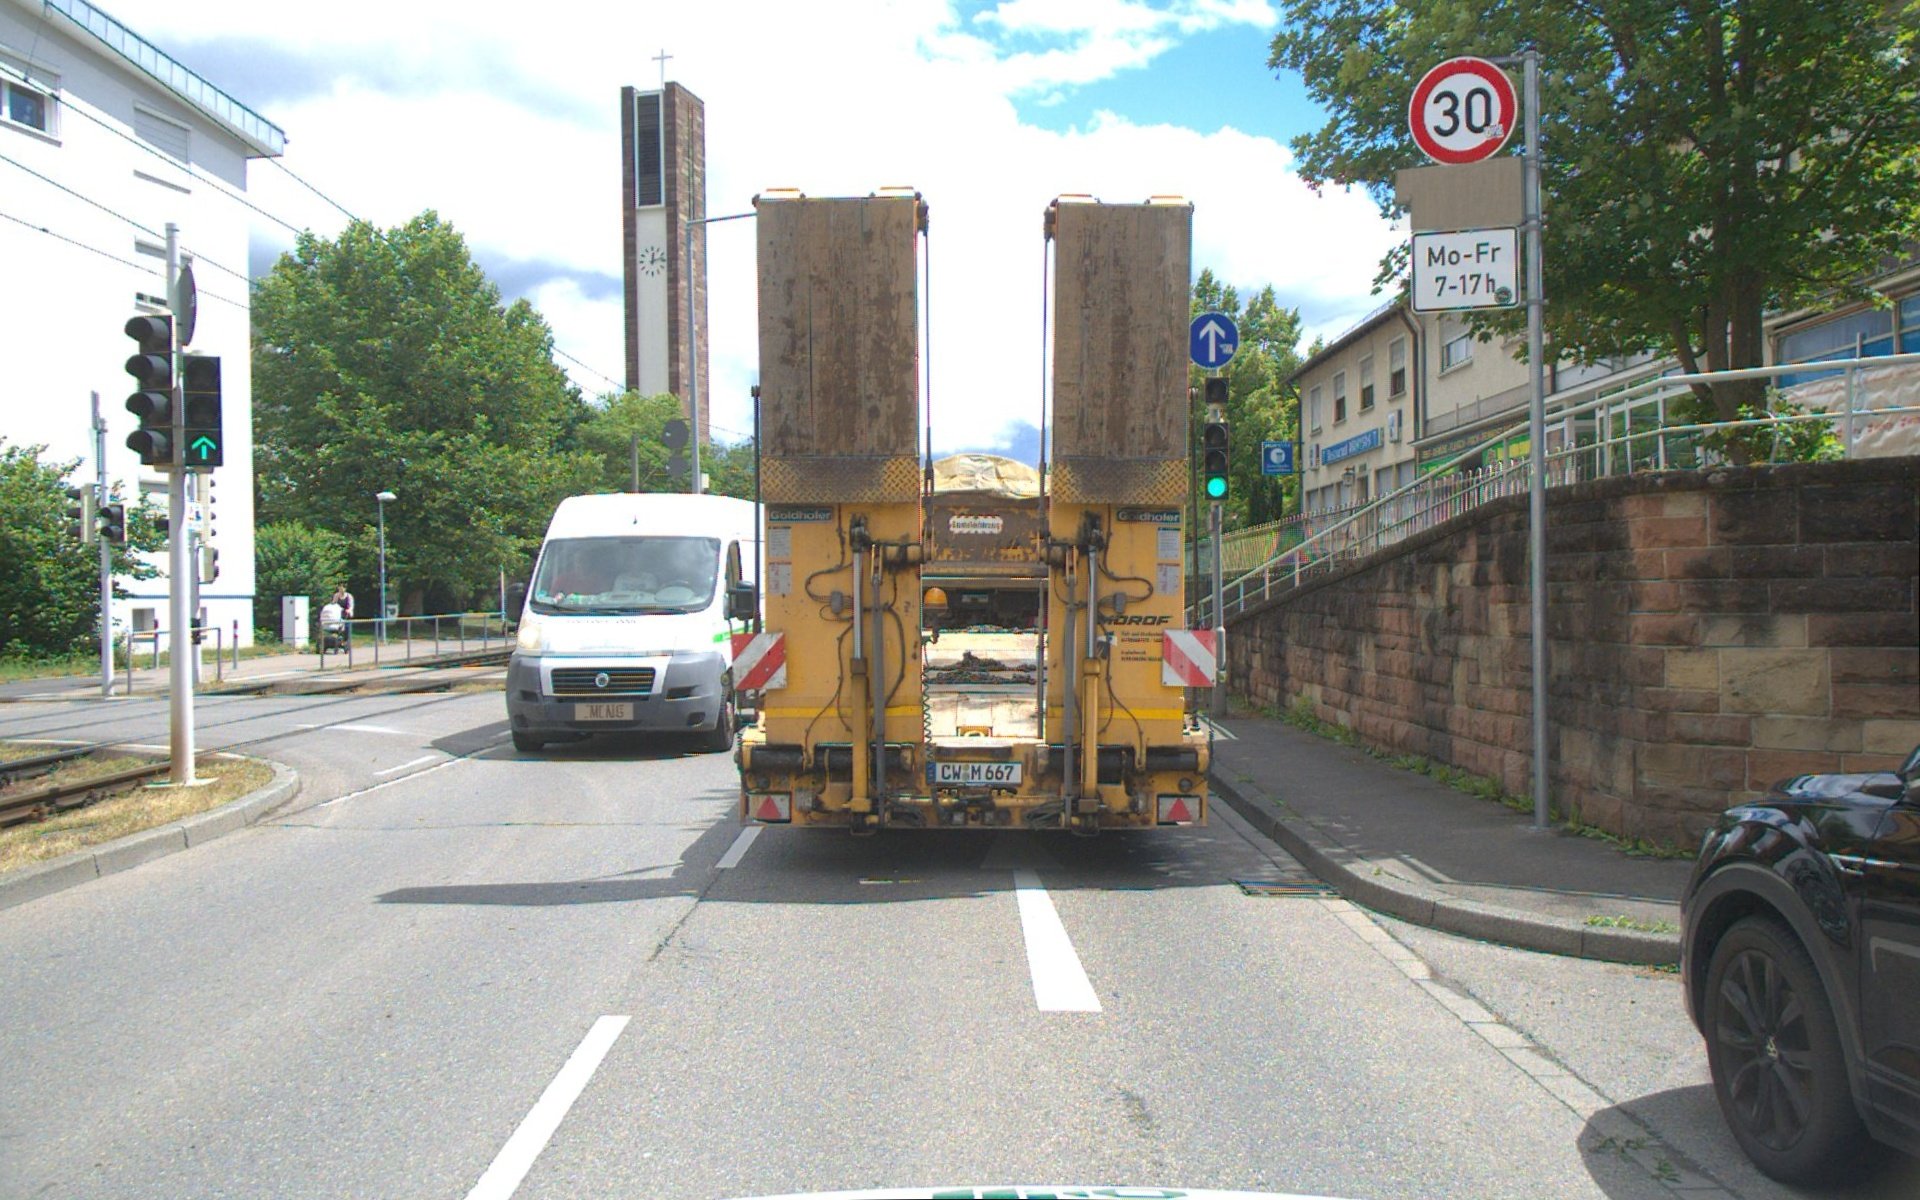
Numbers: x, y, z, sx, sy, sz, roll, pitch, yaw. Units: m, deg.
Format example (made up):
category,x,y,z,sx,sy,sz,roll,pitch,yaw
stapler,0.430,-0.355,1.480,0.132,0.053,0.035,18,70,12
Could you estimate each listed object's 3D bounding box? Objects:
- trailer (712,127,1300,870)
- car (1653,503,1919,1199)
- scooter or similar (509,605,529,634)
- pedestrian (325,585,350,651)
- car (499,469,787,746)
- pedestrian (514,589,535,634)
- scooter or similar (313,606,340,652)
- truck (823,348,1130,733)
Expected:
category,x,y,z,sx,sy,sz,roll,pitch,yaw
trailer,0.193,-0.546,12.586,2.885,3.664,8.682,-1,0,-1
car,3.014,0.595,2.938,1.813,1.668,3.999,-2,0,-1
scooter or similar,-15.026,0.663,56.387,0.495,0.988,0.645,1,0,-3
pedestrian,-15.018,0.434,39.931,0.341,1.564,0.557,1,0,2
car,-3.068,0.051,17.226,1.972,2.401,5.382,1,0,-1
pedestrian,-15.027,0.391,57.039,0.552,1.540,0.645,1,0,-3
scooter or similar,-15.049,0.693,39.302,0.331,1.076,0.688,1,0,2
truck,0.139,-0.588,18.219,2.883,3.635,4.876,-1,0,-1
